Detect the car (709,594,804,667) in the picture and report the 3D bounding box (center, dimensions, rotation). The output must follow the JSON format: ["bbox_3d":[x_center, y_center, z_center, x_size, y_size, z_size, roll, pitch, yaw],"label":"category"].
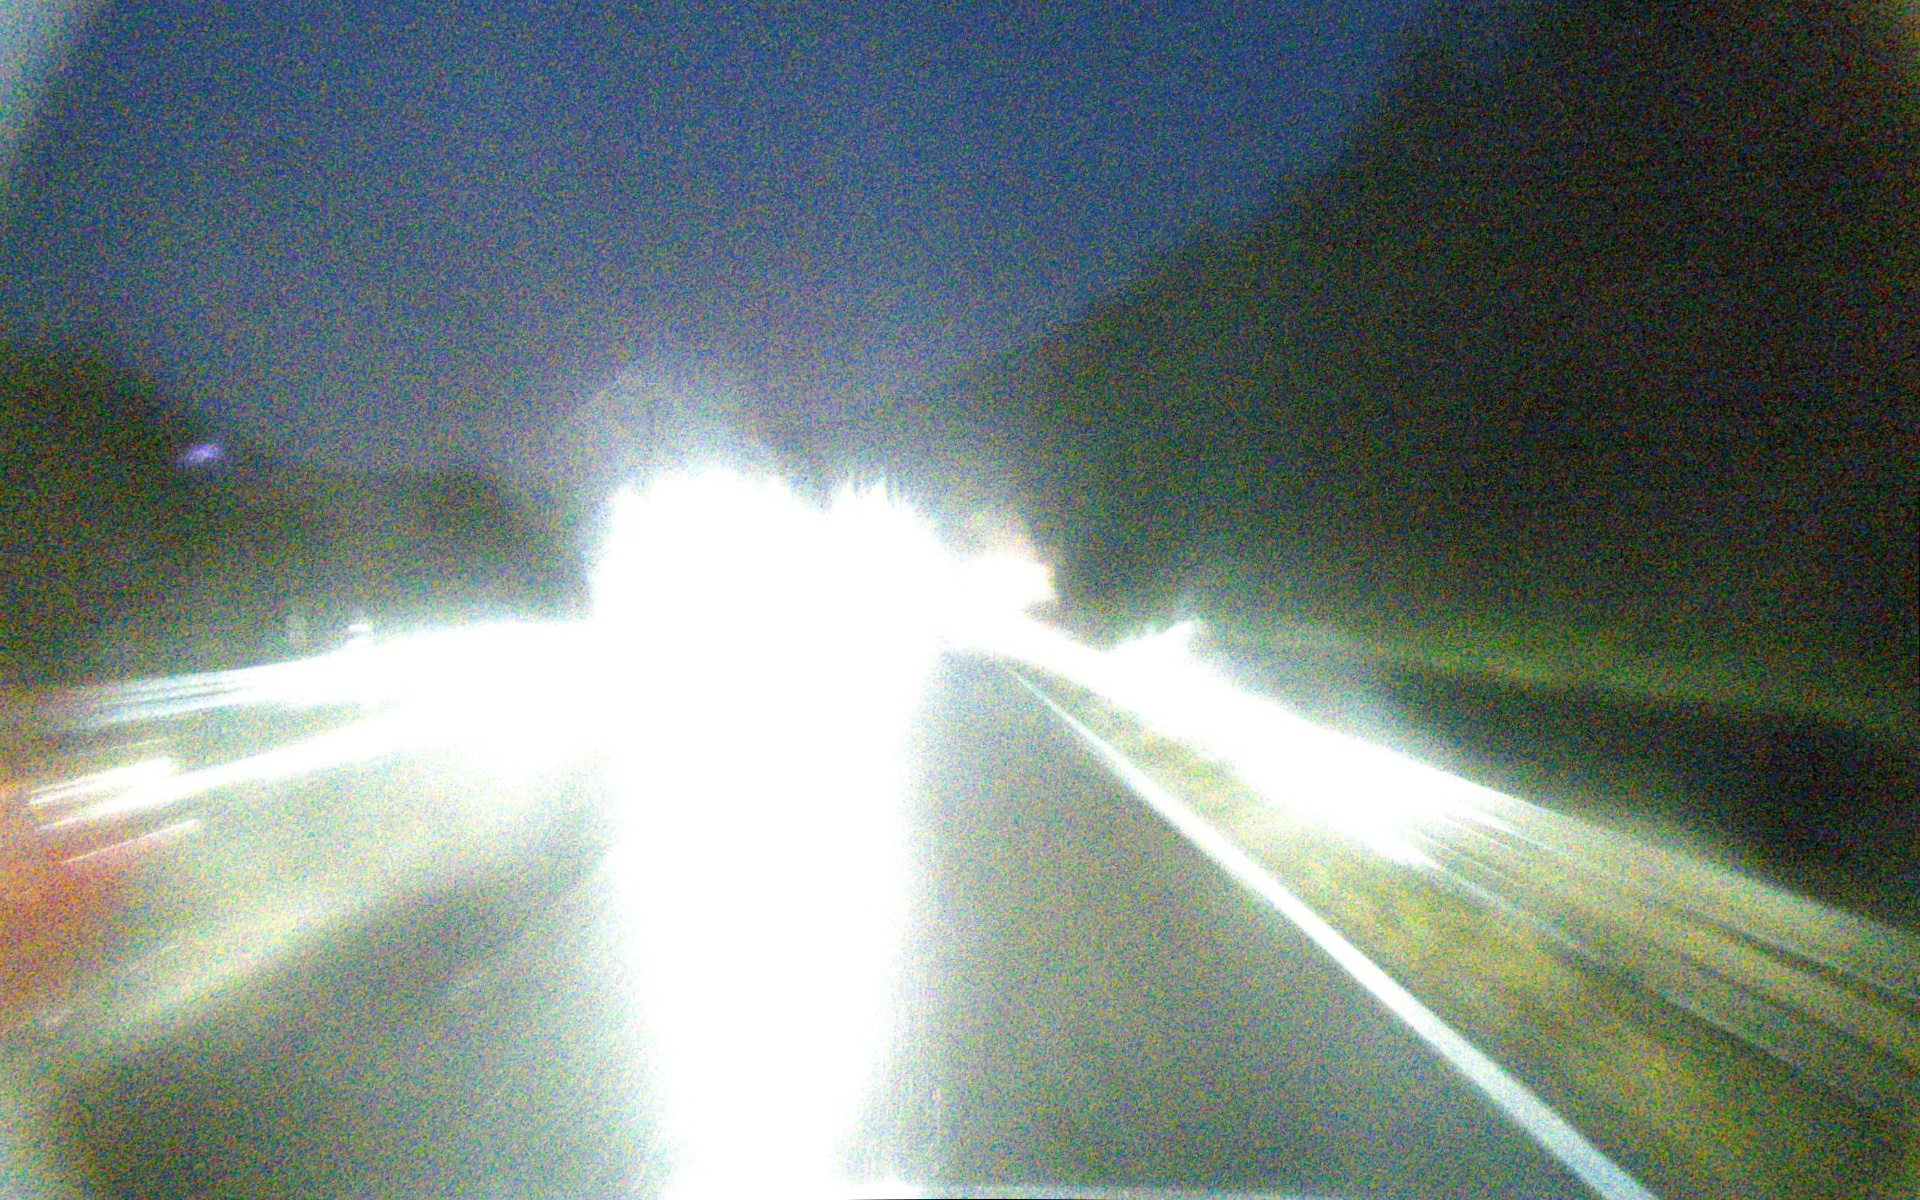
[{"bbox_3d":[-4.130,0.591,33.977,1.608,1.383,3.679,1,0,-2],"label":"car"}]

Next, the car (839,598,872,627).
[{"bbox_3d":[-6.149,0.725,97.427,1.831,1.641,3.845,1,0,-2],"label":"car"}]

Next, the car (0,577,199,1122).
[{"bbox_3d":[-3.392,0.668,3.965,1.631,1.481,3.425,1,0,-2],"label":"car"}]
